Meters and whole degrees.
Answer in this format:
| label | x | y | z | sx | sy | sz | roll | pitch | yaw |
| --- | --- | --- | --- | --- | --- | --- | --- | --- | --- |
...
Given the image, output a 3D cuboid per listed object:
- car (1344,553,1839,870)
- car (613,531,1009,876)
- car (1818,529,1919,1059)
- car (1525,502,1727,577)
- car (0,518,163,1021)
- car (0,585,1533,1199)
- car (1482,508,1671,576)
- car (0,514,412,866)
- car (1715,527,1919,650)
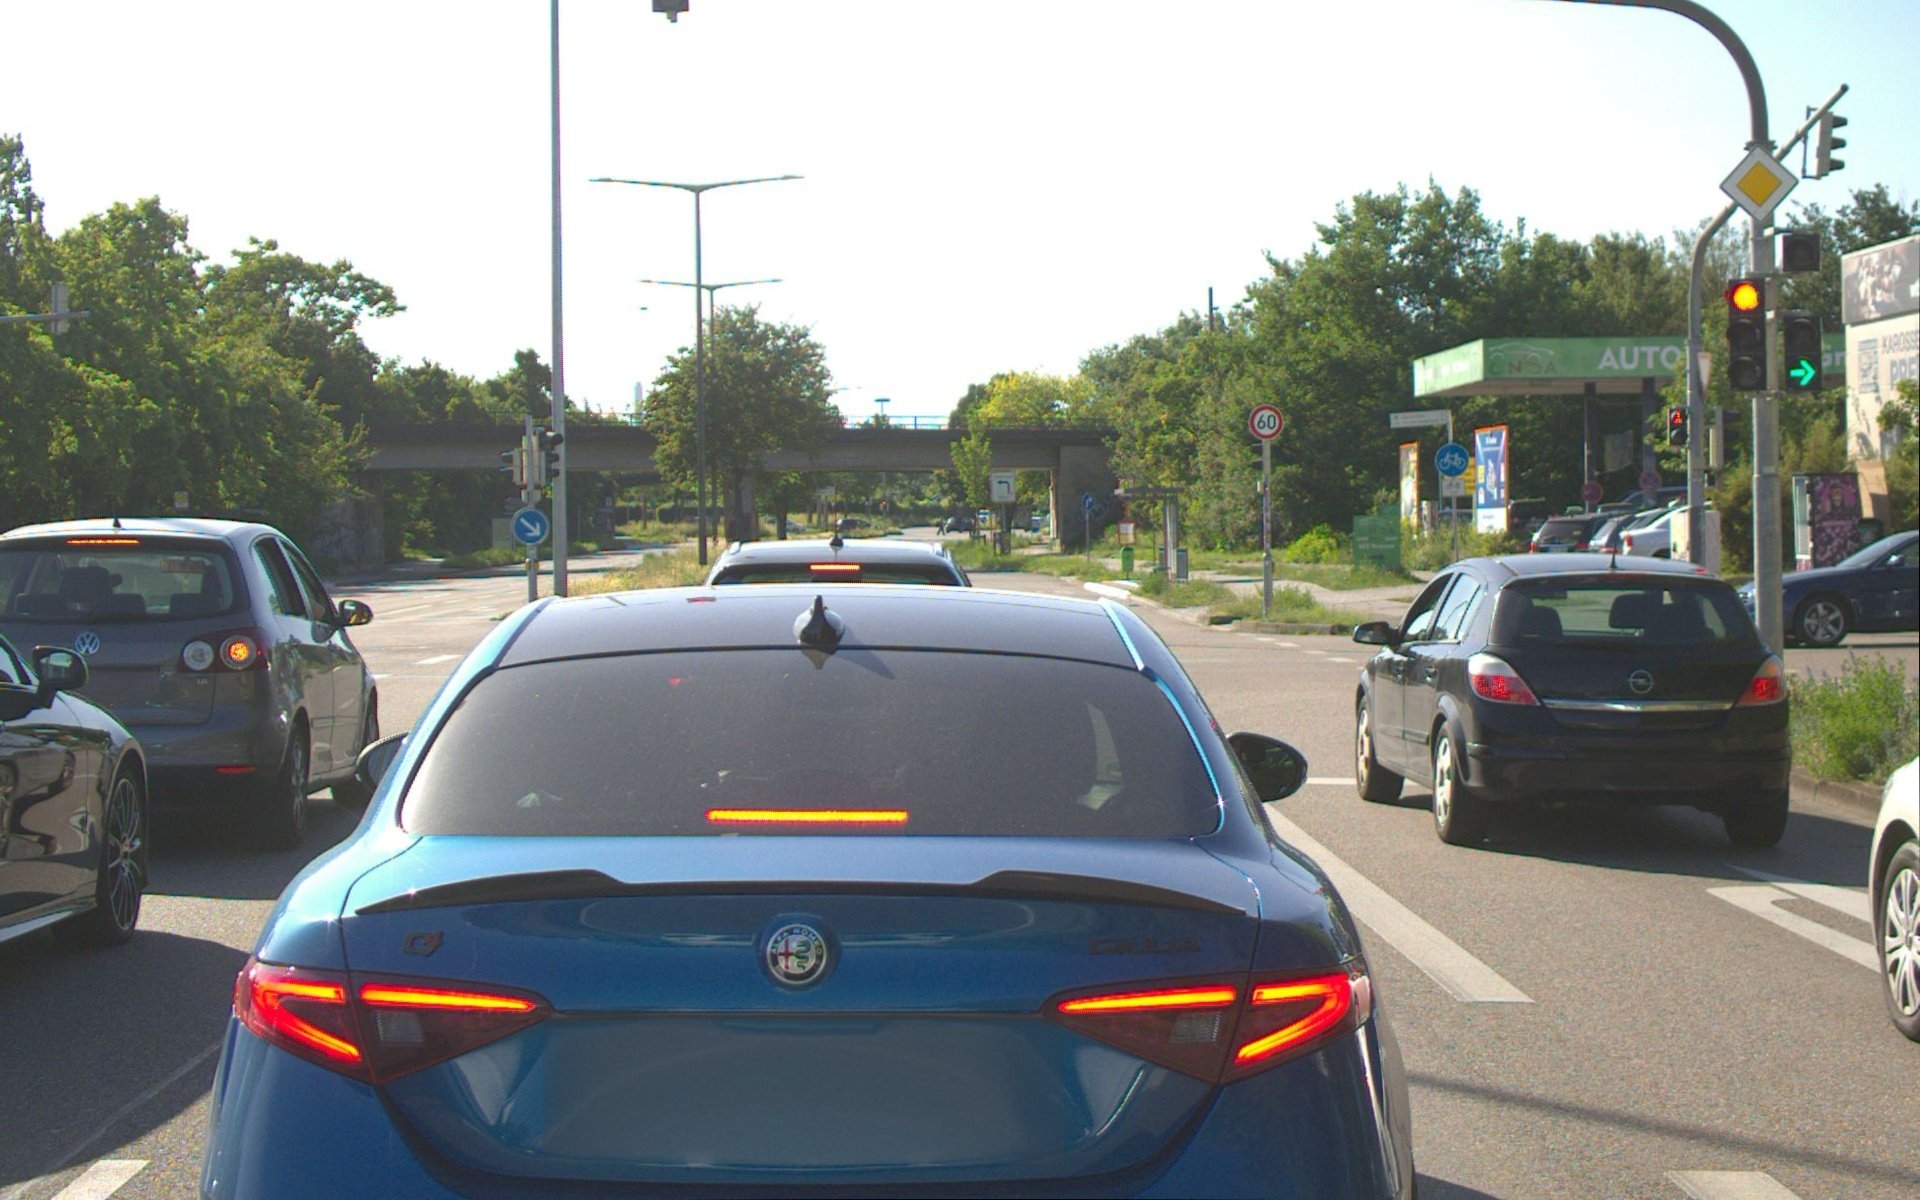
| label | x | y | z | sx | sy | sz | roll | pitch | yaw |
| --- | --- | --- | --- | --- | --- | --- | --- | --- | --- |
| car | 3.184 | 0.490 | 18.180 | 1.734 | 1.437 | 4.372 | 1 | 1 | -1 |
| car | -0.629 | 0.437 | 16.944 | 1.704 | 1.492 | 3.719 | 1 | 1 | 1 |
| car | 3.692 | 0.597 | 9.002 | 1.783 | 1.531 | 4.108 | 1 | 1 | -1 |
| car | 14.439 | -1.300 | 74.684 | 3.987 | 1.547 | 2.000 | 1 | 0 | 1 |
| car | -3.852 | 0.514 | 10.621 | 1.812 | 1.546 | 4.544 | 0 | 1 | -1 |
| car | -0.224 | 0.704 | 6.111 | 1.910 | 1.418 | 3.719 | 1 | 1 | 1 |
| car | 14.843 | -1.383 | 82.784 | 3.986 | 1.547 | 2.001 | 1 | 0 | -18 |
| car | -3.966 | 0.376 | 17.410 | 1.812 | 1.546 | 4.354 | 1 | 1 | -2 |
| car | 11.954 | -0.131 | 42.466 | 4.818 | 1.463 | 1.759 | 1 | 0 | -2 |
